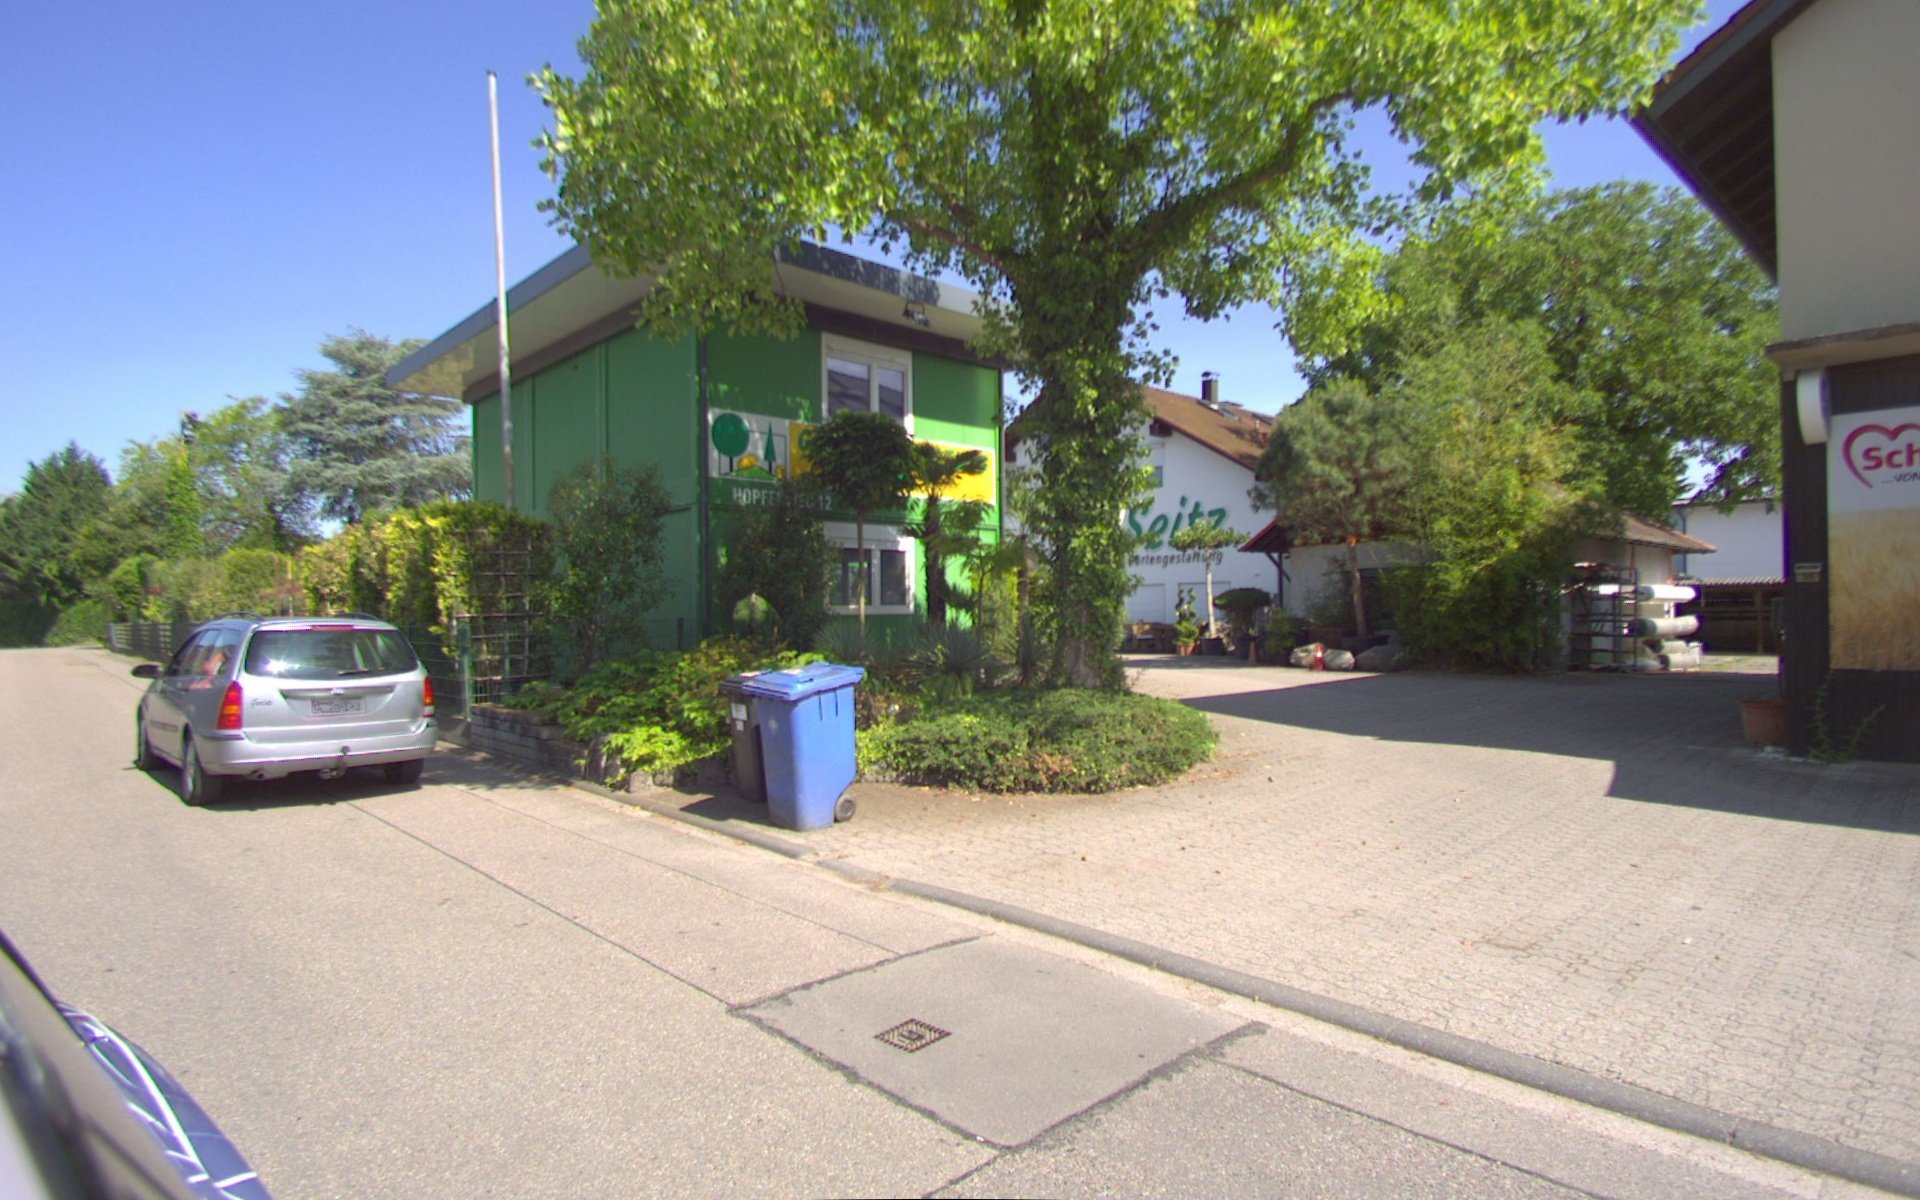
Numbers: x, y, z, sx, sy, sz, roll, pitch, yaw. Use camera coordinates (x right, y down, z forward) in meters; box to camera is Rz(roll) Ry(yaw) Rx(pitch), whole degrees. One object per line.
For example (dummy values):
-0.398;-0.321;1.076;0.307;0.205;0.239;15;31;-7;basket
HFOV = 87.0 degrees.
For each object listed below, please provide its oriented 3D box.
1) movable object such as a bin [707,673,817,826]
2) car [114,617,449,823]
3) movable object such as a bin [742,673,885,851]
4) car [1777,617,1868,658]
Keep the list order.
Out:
-1.491;1.099;7.632;0.576;1.032;0.568;-1;0;-43;movable object such as a bin
-6.564;0.945;9.576;4.376;1.498;1.733;-2;-2;44;car
-1.003;1.068;6.923;0.722;1.062;0.613;-1;0;-43;movable object such as a bin
32.338;1.368;37.933;3.936;1.453;1.906;1;-2;-39;car
